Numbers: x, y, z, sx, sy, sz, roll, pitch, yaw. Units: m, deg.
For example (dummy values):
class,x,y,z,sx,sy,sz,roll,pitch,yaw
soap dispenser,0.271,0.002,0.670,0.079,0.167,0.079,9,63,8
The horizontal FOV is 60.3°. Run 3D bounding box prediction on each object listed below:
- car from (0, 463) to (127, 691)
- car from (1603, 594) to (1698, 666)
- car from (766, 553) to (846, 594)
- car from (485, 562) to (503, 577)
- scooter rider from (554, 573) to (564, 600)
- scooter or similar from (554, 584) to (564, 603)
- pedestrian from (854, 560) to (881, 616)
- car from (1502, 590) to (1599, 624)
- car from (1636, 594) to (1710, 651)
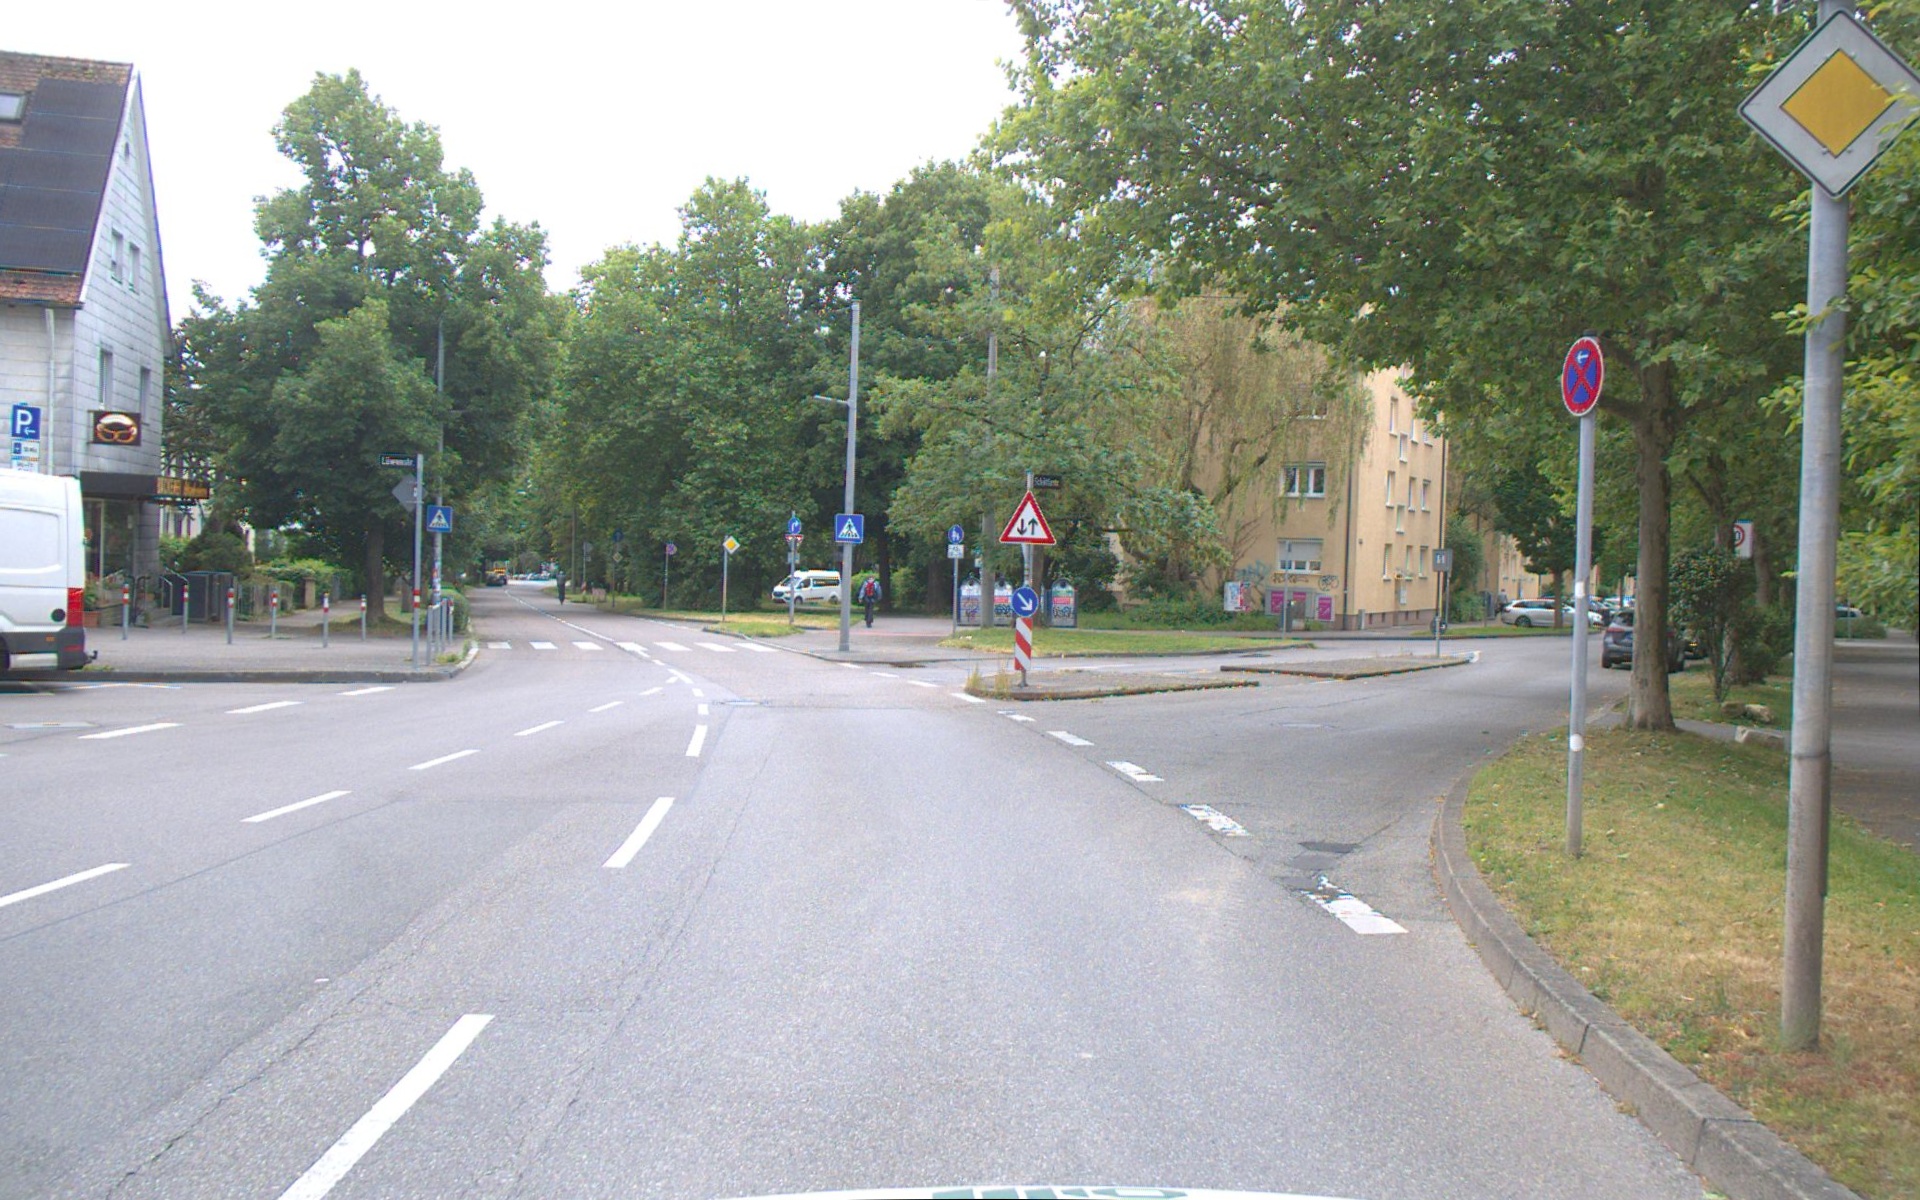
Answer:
class,x,y,z,sx,sy,sz,roll,pitch,yaw
car,-13.141,-0.396,18.041,6.909,2.565,2.057,2,2,-39
car,17.772,0.752,42.484,1.839,1.595,4.014,5,2,27
car,-10.131,-1.731,109.306,2.097,2.336,5.361,6,2,38
car,-55.317,-3.586,196.291,1.805,1.524,3.639,4,2,-18
scooter rider,-23.361,-0.788,96.362,0.591,1.579,0.564,1,2,-15
scooter or similar,-23.364,-0.373,96.343,0.590,1.073,0.870,1,2,-15
pedestrian,-3.290,-0.430,58.805,0.905,1.903,1.018,-2,4,-5
car,28.008,0.357,78.469,4.113,1.604,1.815,0,-1,27
car,22.643,0.718,52.452,1.745,1.625,4.242,4,1,28
